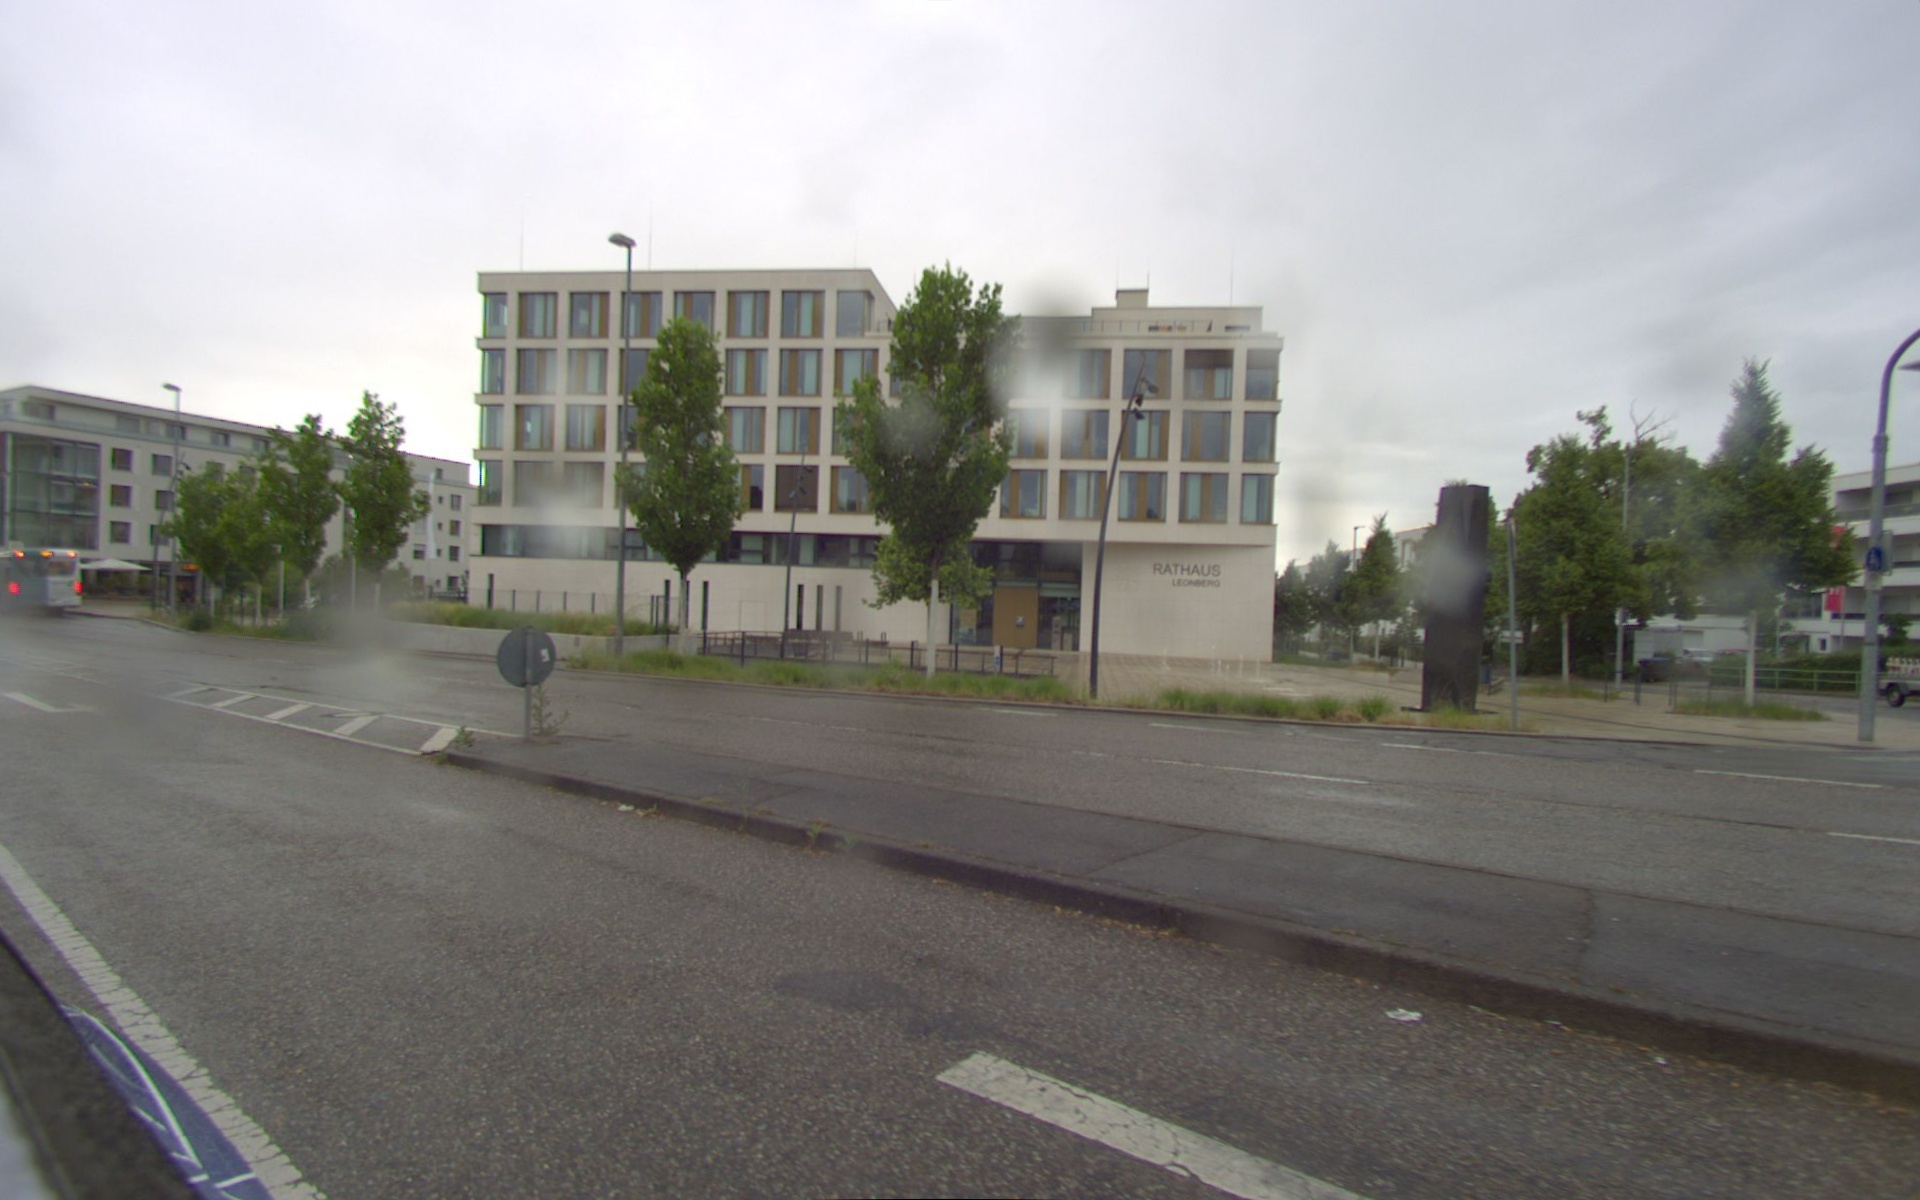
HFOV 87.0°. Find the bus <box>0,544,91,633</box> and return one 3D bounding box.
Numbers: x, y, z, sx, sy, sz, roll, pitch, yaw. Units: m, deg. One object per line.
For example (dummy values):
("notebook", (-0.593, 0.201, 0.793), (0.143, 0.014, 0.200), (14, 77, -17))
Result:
("bus", (-50.099, -0.506, 52.579), (18.186, 4.025, 2.918), (0, -2, 35))

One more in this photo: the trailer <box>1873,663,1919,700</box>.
("trailer", (27.098, 2.288, 28.059), (1.589, 0.986, 2.281), (1, -2, 7))

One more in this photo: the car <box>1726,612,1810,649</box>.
("car", (48.320, 1.792, 60.626), (1.766, 2.029, 4.000), (0, 0, 0))

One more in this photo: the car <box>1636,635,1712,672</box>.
("car", (43.563, 3.232, 61.857), (1.766, 2.029, 4.000), (0, 0, 0))
